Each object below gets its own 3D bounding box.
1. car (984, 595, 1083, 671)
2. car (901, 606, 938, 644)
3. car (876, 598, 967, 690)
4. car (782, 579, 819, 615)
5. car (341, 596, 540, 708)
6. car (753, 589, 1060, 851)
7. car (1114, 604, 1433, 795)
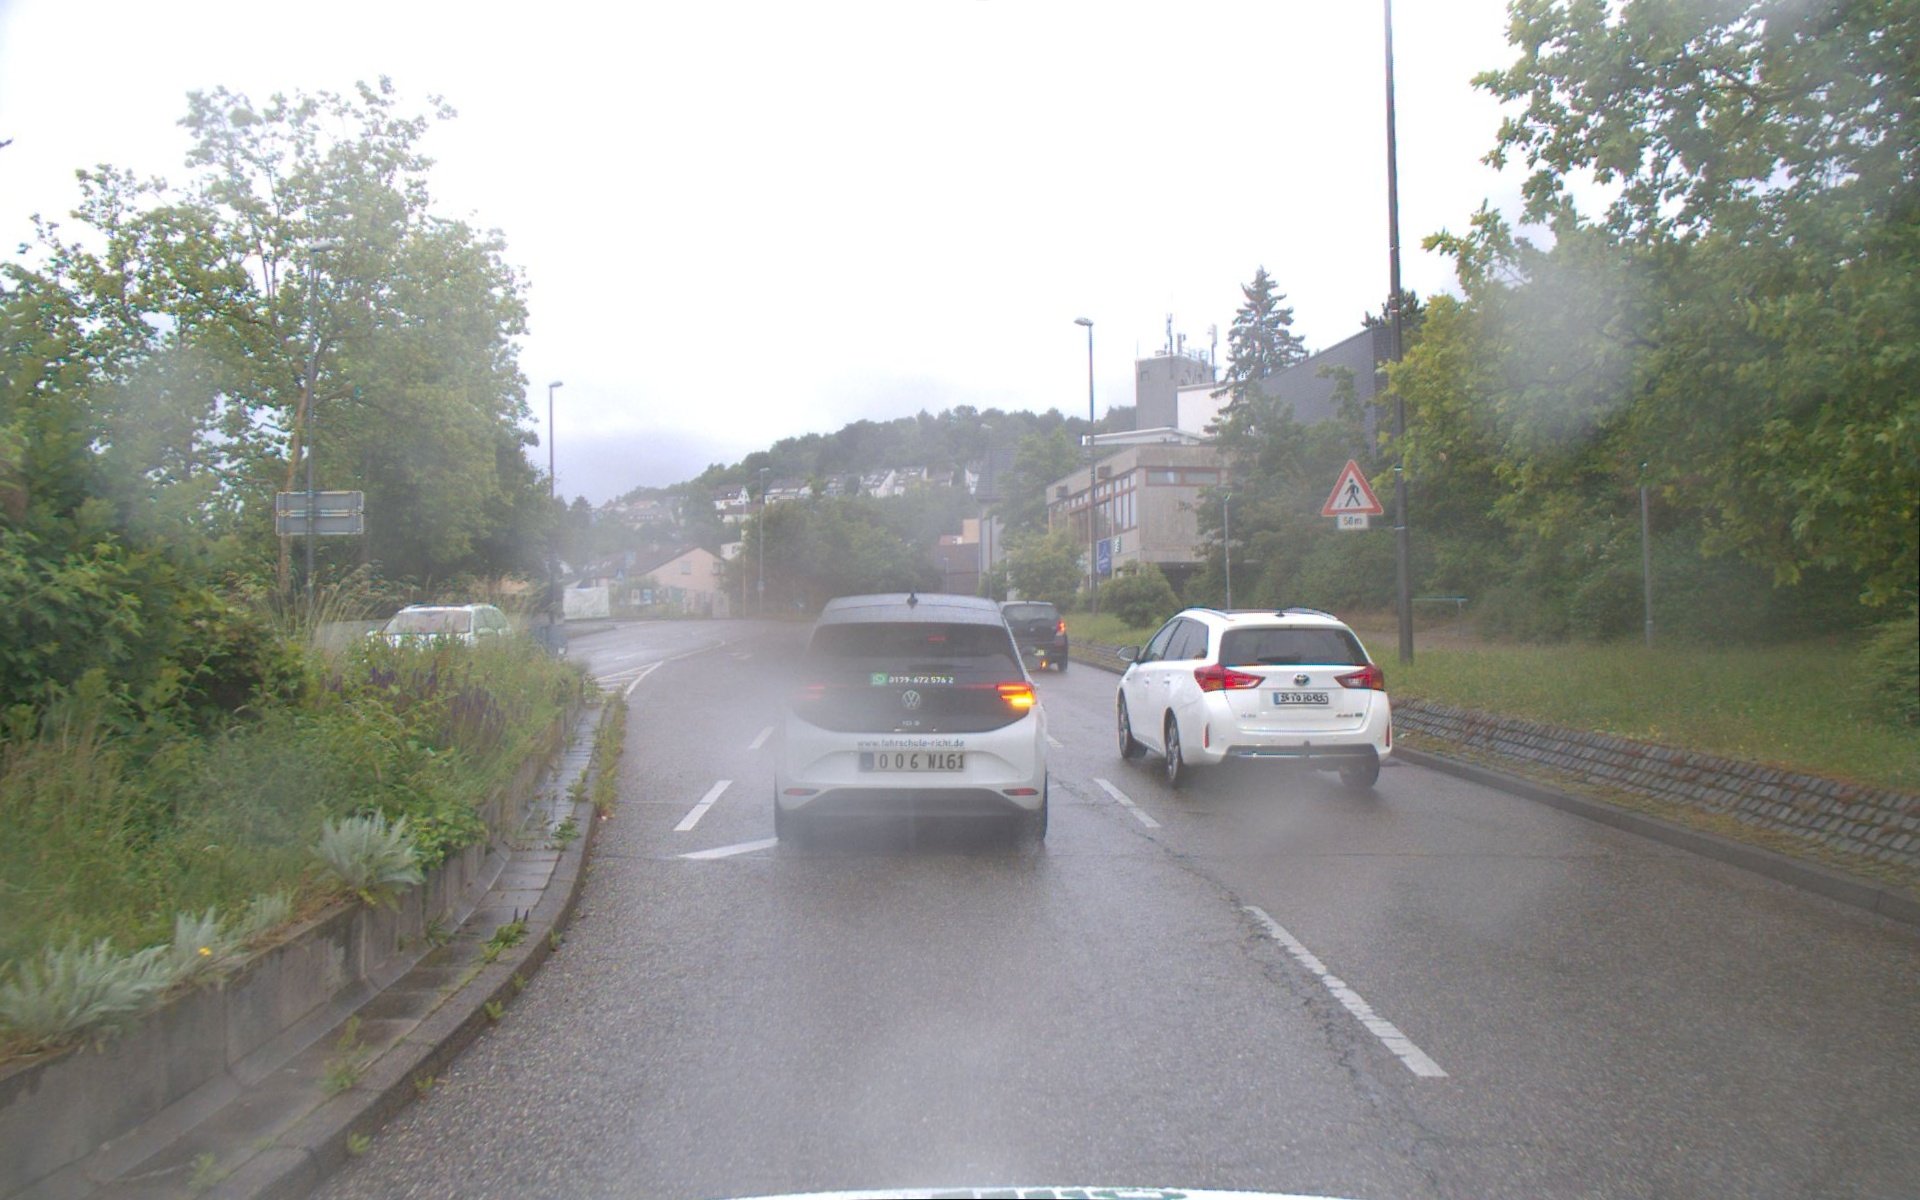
[{"bbox_3d":[1.562,0.721,36.429,1.953,1.478,3.770,-3,-1,0],"label":"car"},{"bbox_3d":[-2.226,1.372,91.243,1.953,2.049,3.999,1,-1,0],"label":"car"},{"bbox_3d":[-0.752,0.751,30.185,1.536,1.557,3.998,0,0,-3],"label":"car"},{"bbox_3d":[-9.466,-0.158,98.276,1.953,2.049,3.998,1,-1,-2],"label":"car"},{"bbox_3d":[-8.604,0.818,27.845,1.953,1.691,4.596,-1,0,-1],"label":"car"},{"bbox_3d":[-0.316,0.731,11.745,1.791,1.526,4.168,0,-1,0],"label":"car"},{"bbox_3d":[2.575,0.784,14.654,1.811,1.434,4.298,0,-1,-3],"label":"car"}]
